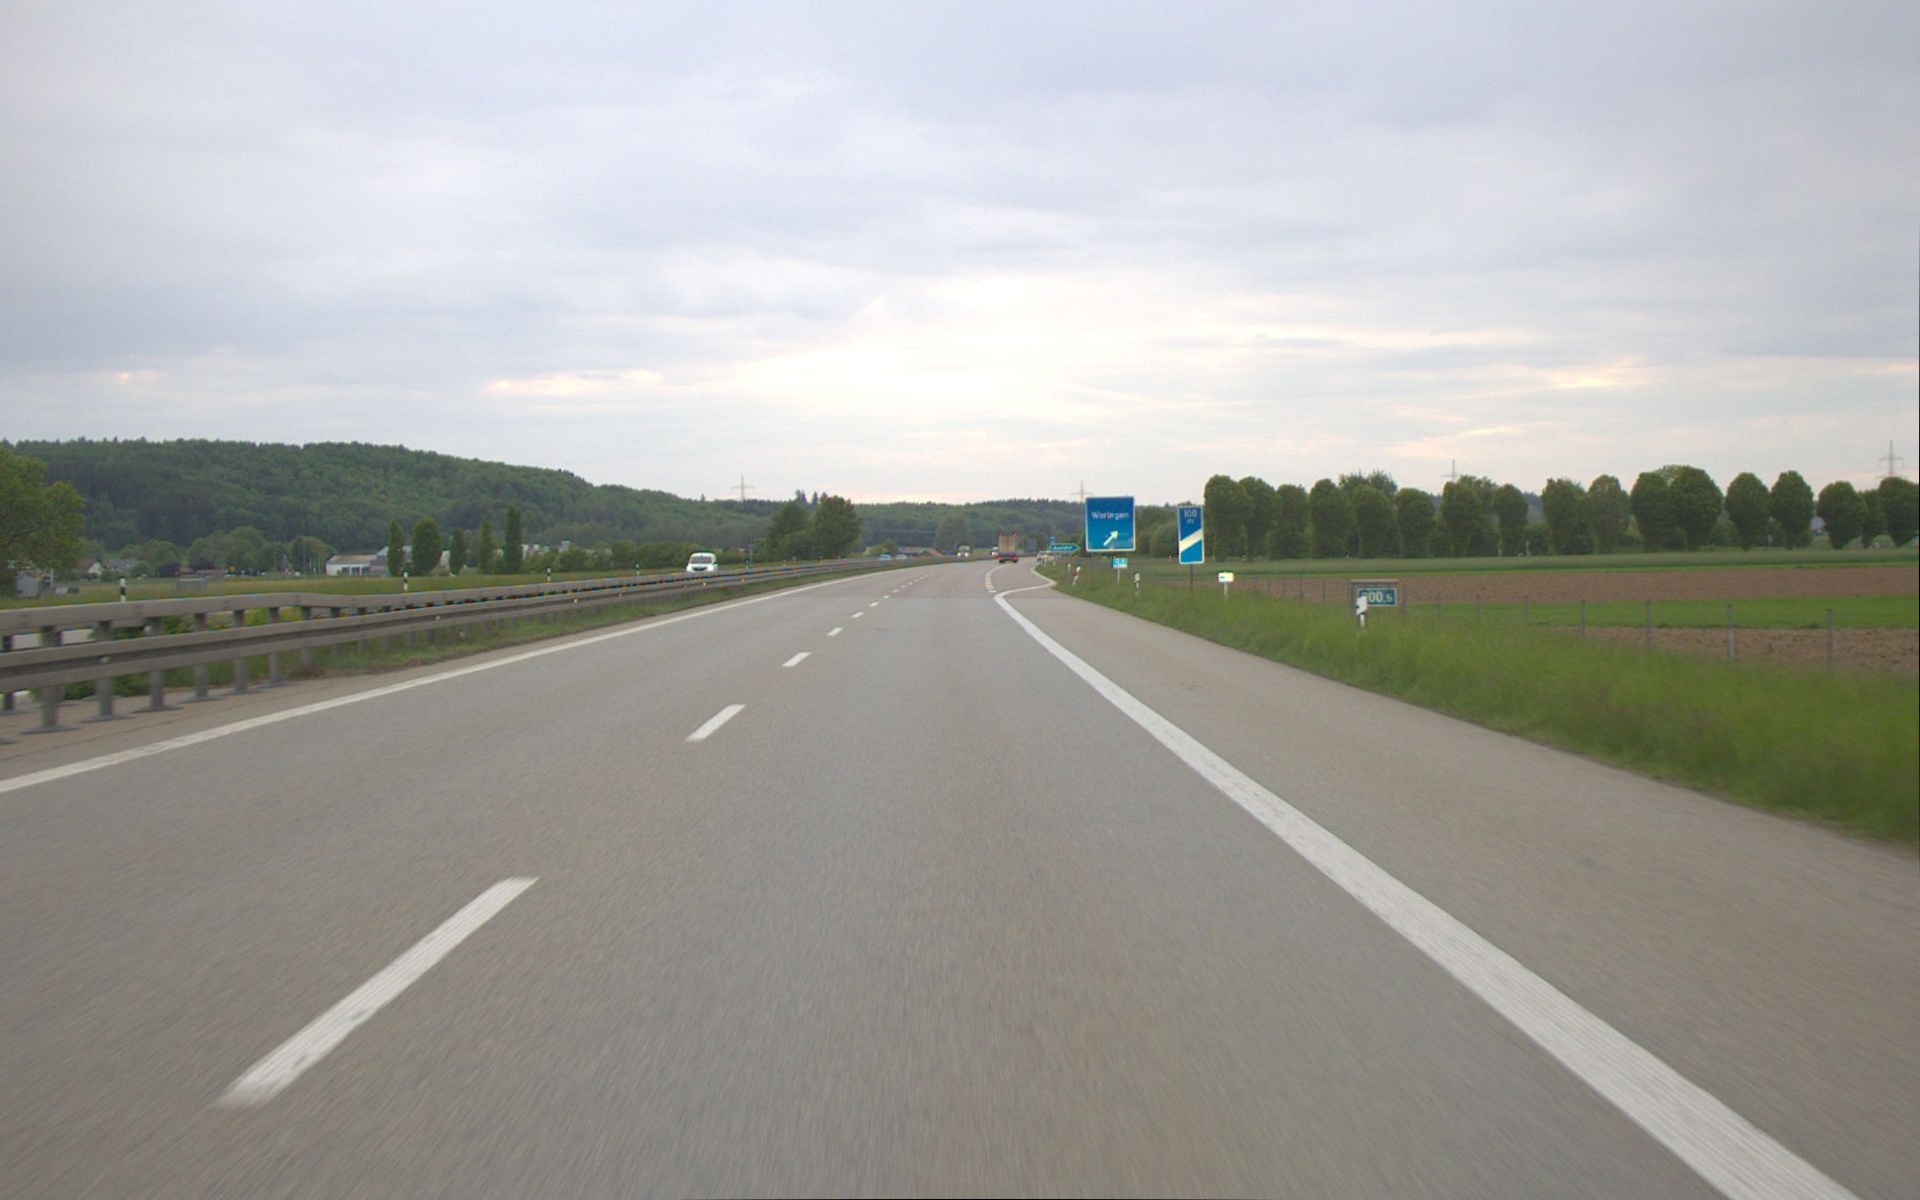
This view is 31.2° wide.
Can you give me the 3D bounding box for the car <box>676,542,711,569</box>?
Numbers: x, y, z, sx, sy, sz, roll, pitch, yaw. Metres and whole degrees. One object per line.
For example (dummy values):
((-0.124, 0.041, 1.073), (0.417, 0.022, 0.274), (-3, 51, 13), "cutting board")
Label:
((-17.763, -2.971, 229.115), (1.993, 1.759, 4.952), (1, 1, -1), "car")
